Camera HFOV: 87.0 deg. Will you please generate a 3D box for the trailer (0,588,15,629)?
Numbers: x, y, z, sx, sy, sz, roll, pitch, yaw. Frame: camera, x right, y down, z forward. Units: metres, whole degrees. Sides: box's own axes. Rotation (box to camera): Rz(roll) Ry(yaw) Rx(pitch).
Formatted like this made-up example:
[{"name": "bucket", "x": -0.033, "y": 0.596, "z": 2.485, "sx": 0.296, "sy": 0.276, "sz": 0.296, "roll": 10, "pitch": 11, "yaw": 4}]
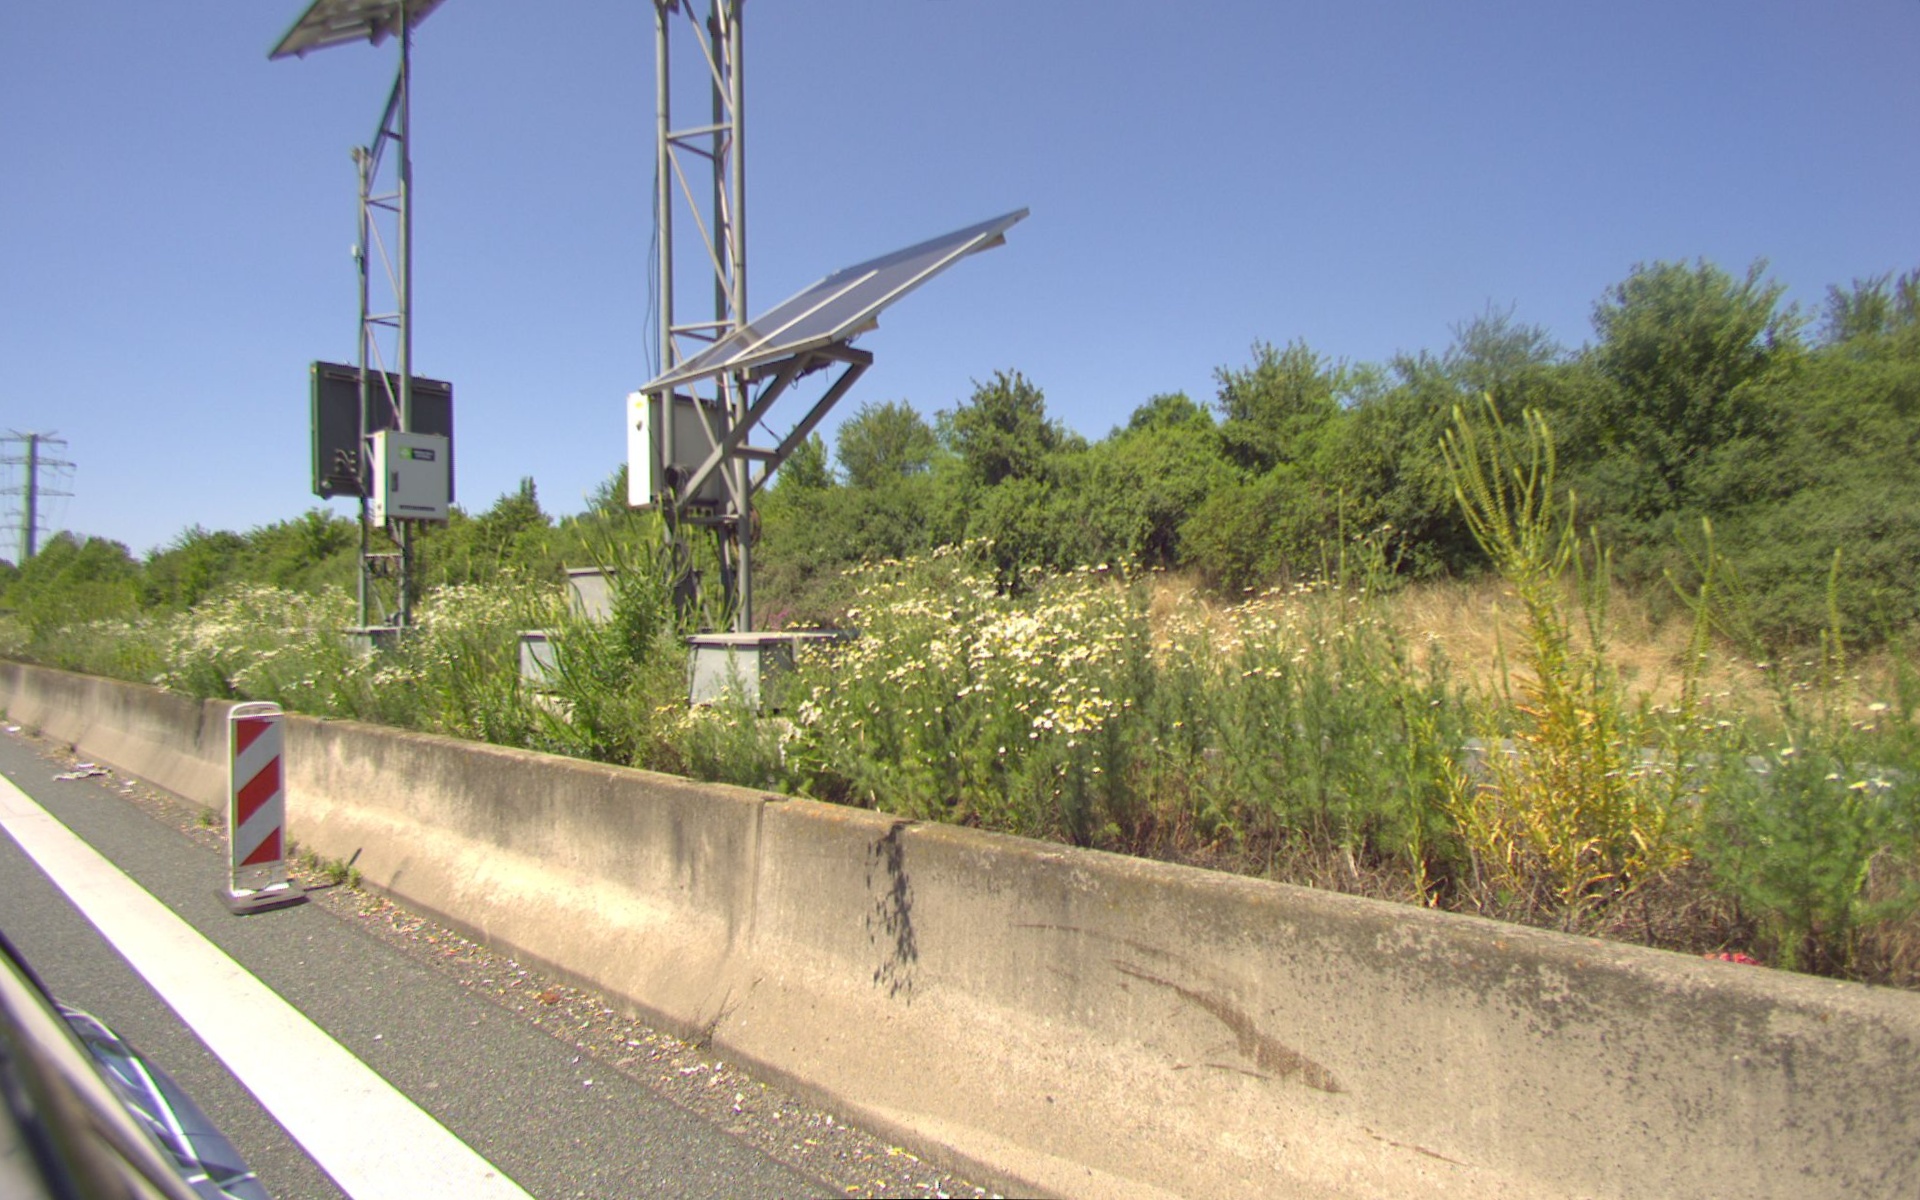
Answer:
[{"name": "trailer", "x": -109.228, "y": 1.011, "z": 113.897, "sx": 12.900, "sy": 4.437, "sz": 2.929, "roll": -1, "pitch": 0, "yaw": 41}]
